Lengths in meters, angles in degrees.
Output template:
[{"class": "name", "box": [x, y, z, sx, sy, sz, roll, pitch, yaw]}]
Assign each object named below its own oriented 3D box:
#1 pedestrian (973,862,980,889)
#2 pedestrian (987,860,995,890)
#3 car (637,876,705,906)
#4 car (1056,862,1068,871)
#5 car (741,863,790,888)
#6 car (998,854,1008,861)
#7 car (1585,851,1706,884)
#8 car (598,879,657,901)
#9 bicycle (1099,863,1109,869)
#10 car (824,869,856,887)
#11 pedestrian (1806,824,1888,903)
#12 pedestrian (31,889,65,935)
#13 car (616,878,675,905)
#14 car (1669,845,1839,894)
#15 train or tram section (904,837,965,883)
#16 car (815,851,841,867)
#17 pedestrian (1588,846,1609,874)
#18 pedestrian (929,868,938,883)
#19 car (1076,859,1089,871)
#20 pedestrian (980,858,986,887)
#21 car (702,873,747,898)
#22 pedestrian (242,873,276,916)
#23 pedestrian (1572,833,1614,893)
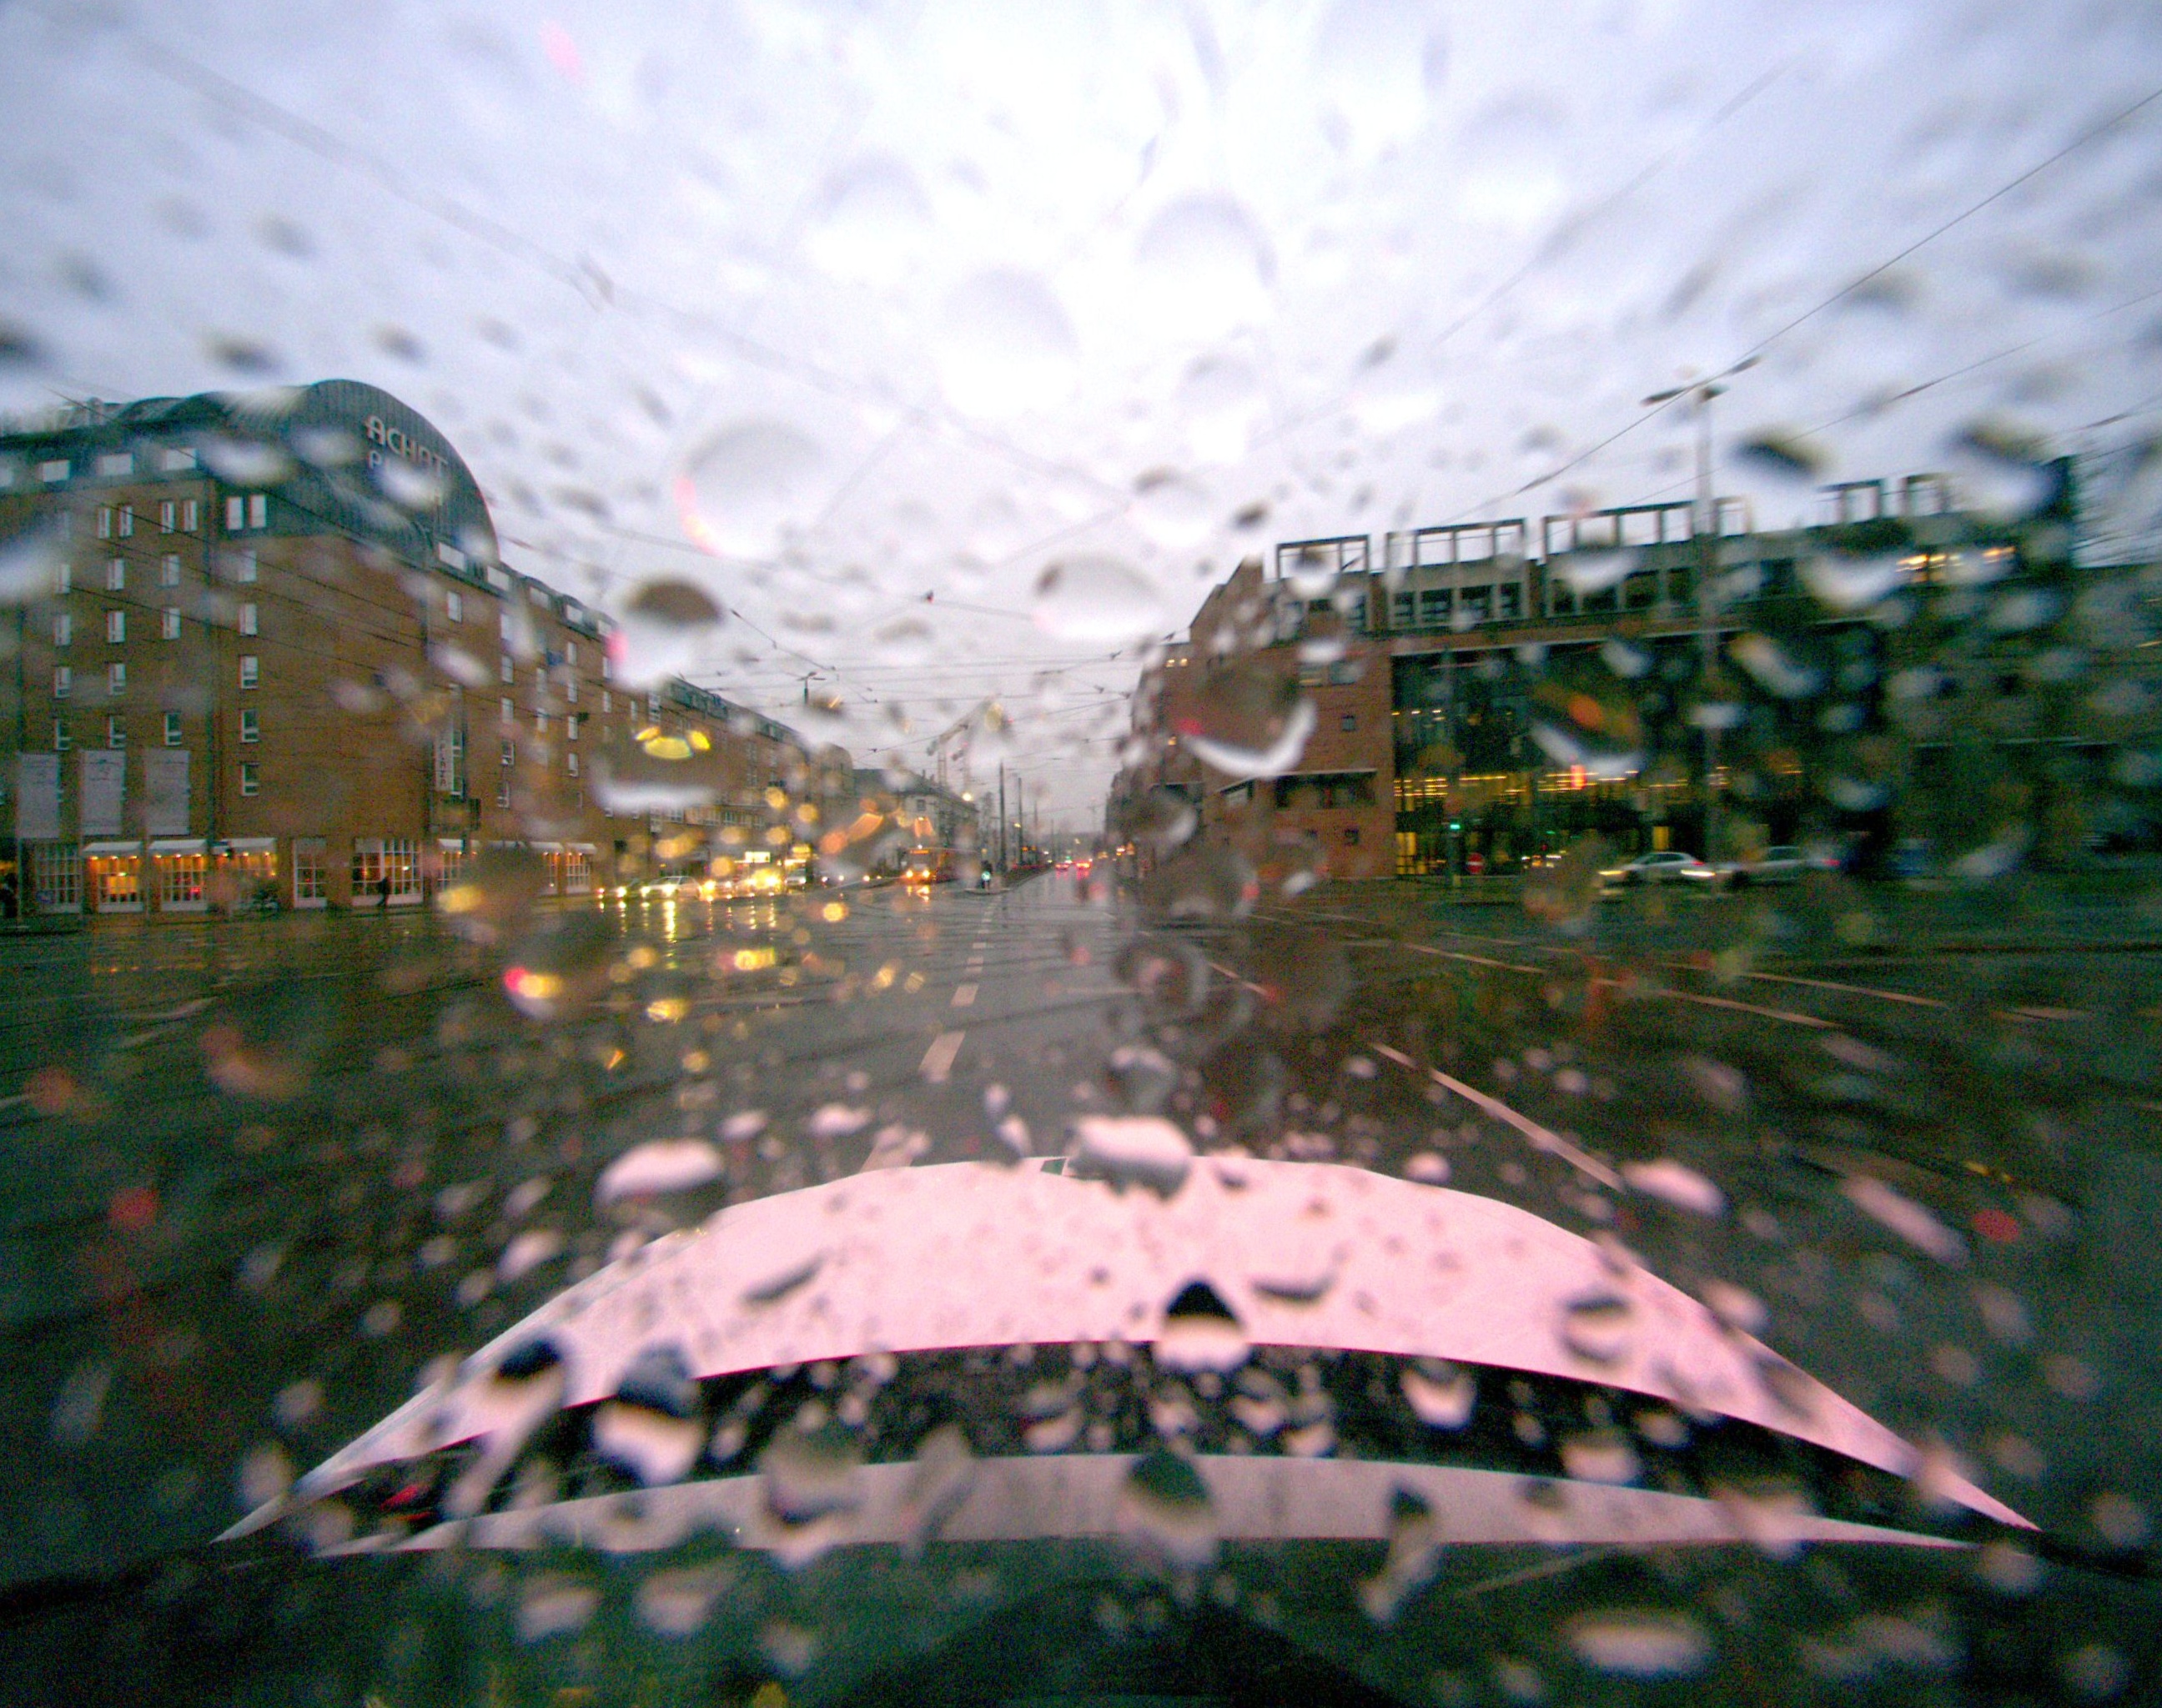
[{"class": "pedestrian", "box": [-6.750, 1.357, 52.506, 0.432, 1.735, 0.472, -1, -1, -5]}, {"class": "pedestrian", "box": [-5.659, 1.317, 51.255, 0.411, 1.845, 0.668, -1, -1, -5]}, {"class": "car", "box": [-23.453, 2.080, 46.732, 1.662, 1.495, 4.202, -2, -1, 1]}, {"class": "car", "box": [-3.095, 2.132, 136.442, 1.777, 1.467, 3.150, -1, 0, 2]}, {"class": "car", "box": [-23.700, 1.581, 61.317, 1.823, 1.709, 4.704, -1, -1, 0]}, {"class": "car", "box": [-15.730, 0.753, 164.297, 1.677, 1.354, 3.544, 0, -1, -1]}, {"class": "car", "box": [24.582, 0.576, 35.566, 3.966, 1.310, 1.815, -1, -1, 2]}, {"class": "car", "box": [-30.633, 2.420, 55.168, 1.606, 1.321, 4.228, -2, -1, 1]}, {"class": "bicycle", "box": [3.844, 2.037, 137.029, 1.725, 1.055, 0.371, -3, -1, -2]}, {"class": "car", "box": [-19.836, 1.960, 67.170, 1.677, 1.354, 3.544, 0, -1, -1]}, {"class": "pedestrian", "box": [18.087, 0.217, 19.246, 1.144, 1.787, 0.777, -2, -1, 1]}, {"class": "pedestrian", "box": [-35.373, 1.968, 27.894, 0.514, 1.538, 0.578, -2, -1, 19]}, {"class": "car", "box": [-26.276, 2.238, 49.250, 1.576, 1.495, 3.596, -2, -1, 1]}, {"class": "car", "box": [21.902, 0.491, 26.629, 3.965, 1.341, 1.815, -3, -1, 2]}, {"class": "train or tram section", "box": [-12.476, 0.520, 70.723, 2.940, 3.589, 12.255, 0, 0, 1]}, {"class": "car", "box": [-32.264, 0.679, 103.848, 1.987, 2.014, 3.999, 0, -1, 0]}, {"class": "pedestrian", "box": [26.013, 0.291, 40.931, 0.730, 1.389, 0.741, -2, -1, 21]}, {"class": "pedestrian", "box": [-11.475, 1.659, 63.345, 0.578, 1.152, 0.490, 0, -1, 1]}, {"class": "car", "box": [0.267, 1.934, 142.077, 1.986, 2.014, 4.002, -1, 0, 2]}, {"class": "pedestrian", "box": [-6.112, 1.149, 50.790, 0.359, 1.787, 0.439, -1, -1, -5]}, {"class": "car", "box": [-26.568, 2.346, 60.831, 1.678, 1.709, 3.855, -1, -1, 0]}, {"class": "pedestrian", "box": [-39.261, 1.909, 38.906, 0.937, 2.014, 0.753, -1, -1, -23]}, {"class": "pedestrian", "box": [15.553, 0.266, 24.760, 0.732, 1.787, 0.734, -2, -1, -3]}]
